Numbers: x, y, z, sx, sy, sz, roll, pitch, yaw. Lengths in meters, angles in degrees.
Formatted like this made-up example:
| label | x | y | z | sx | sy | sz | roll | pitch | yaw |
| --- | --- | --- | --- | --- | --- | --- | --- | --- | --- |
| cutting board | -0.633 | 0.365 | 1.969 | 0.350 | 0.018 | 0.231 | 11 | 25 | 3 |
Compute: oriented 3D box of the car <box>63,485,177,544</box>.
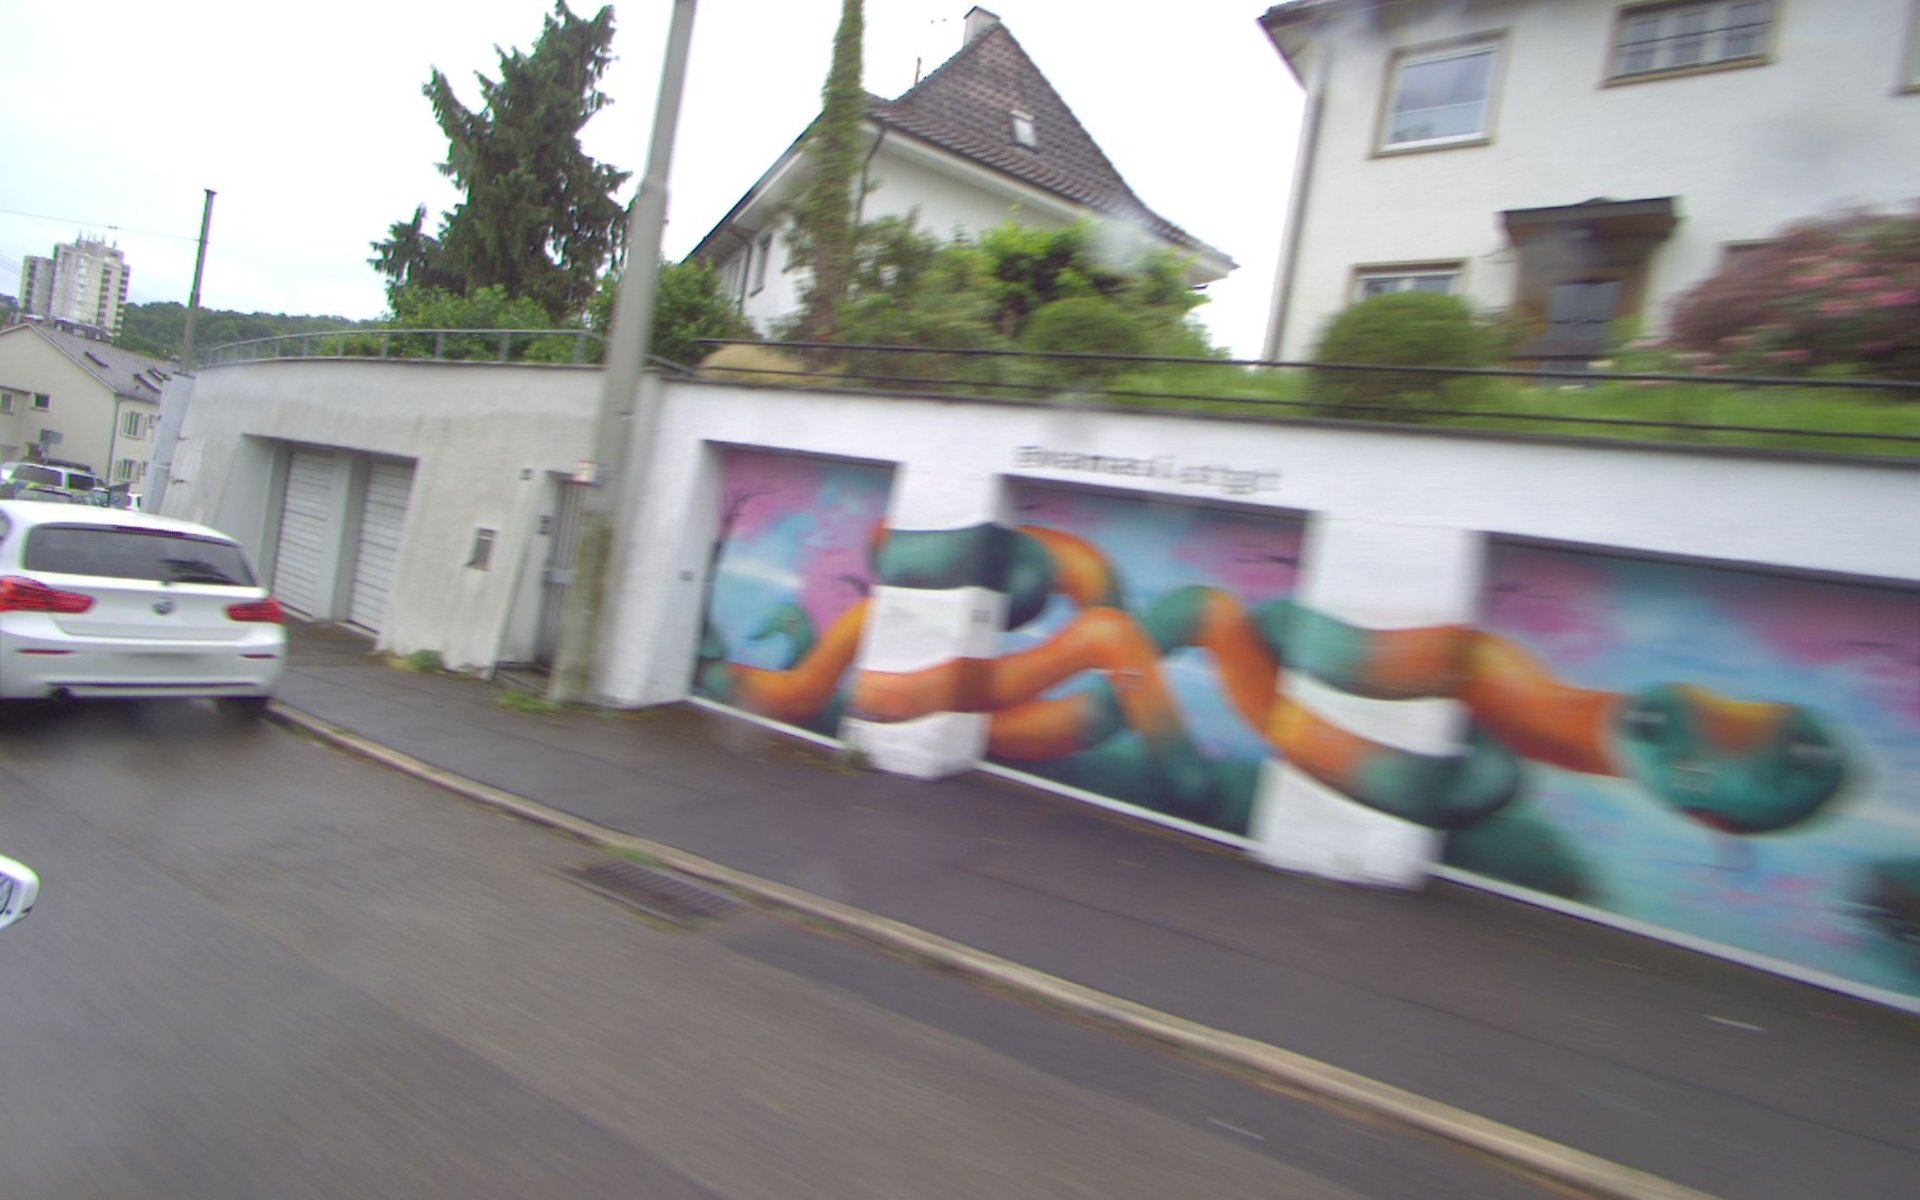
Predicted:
| label | x | y | z | sx | sy | sz | roll | pitch | yaw |
| --- | --- | --- | --- | --- | --- | --- | --- | --- | --- |
| car | -30.321 | -3.031 | 36.489 | 1.787 | 1.668 | 4.187 | 10 | -1 | -22 |

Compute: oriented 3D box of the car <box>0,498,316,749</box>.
| label | x | y | z | sx | sy | sz | roll | pitch | yaw |
| --- | --- | --- | --- | --- | --- | --- | --- | --- | --- |
| car | -6.677 | 0.019 | 7.460 | 3.977 | 1.431 | 1.706 | 6 | -1 | 35 |

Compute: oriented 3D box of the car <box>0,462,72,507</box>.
| label | x | y | z | sx | sy | sz | roll | pitch | yaw |
| --- | --- | --- | --- | --- | --- | --- | --- | --- | --- |
| car | -46.465 | -5.780 | 49.544 | 1.906 | 1.649 | 4.666 | 11 | -2 | -13 |

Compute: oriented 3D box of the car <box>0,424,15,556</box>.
| label | x | y | z | sx | sy | sz | roll | pitch | yaw |
| --- | --- | --- | --- | --- | --- | --- | --- | --- | --- |
| car | -19.530 | -2.146 | 18.946 | 2.091 | 2.573 | 5.554 | 7 | -1 | -41 |

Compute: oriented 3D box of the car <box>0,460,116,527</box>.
| label | x | y | z | sx | sy | sz | roll | pitch | yaw |
| --- | --- | --- | --- | --- | --- | --- | --- | --- | --- |
| car | -35.278 | -4.078 | 39.075 | 2.287 | 1.961 | 4.302 | 11 | -1 | -21 |

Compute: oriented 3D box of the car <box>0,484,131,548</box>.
| label | x | y | z | sx | sy | sz | roll | pitch | yaw |
| --- | --- | --- | --- | --- | --- | --- | --- | --- | --- |
| car | -27.757 | -2.559 | 31.376 | 1.664 | 1.499 | 4.178 | 11 | -2 | -24 |
